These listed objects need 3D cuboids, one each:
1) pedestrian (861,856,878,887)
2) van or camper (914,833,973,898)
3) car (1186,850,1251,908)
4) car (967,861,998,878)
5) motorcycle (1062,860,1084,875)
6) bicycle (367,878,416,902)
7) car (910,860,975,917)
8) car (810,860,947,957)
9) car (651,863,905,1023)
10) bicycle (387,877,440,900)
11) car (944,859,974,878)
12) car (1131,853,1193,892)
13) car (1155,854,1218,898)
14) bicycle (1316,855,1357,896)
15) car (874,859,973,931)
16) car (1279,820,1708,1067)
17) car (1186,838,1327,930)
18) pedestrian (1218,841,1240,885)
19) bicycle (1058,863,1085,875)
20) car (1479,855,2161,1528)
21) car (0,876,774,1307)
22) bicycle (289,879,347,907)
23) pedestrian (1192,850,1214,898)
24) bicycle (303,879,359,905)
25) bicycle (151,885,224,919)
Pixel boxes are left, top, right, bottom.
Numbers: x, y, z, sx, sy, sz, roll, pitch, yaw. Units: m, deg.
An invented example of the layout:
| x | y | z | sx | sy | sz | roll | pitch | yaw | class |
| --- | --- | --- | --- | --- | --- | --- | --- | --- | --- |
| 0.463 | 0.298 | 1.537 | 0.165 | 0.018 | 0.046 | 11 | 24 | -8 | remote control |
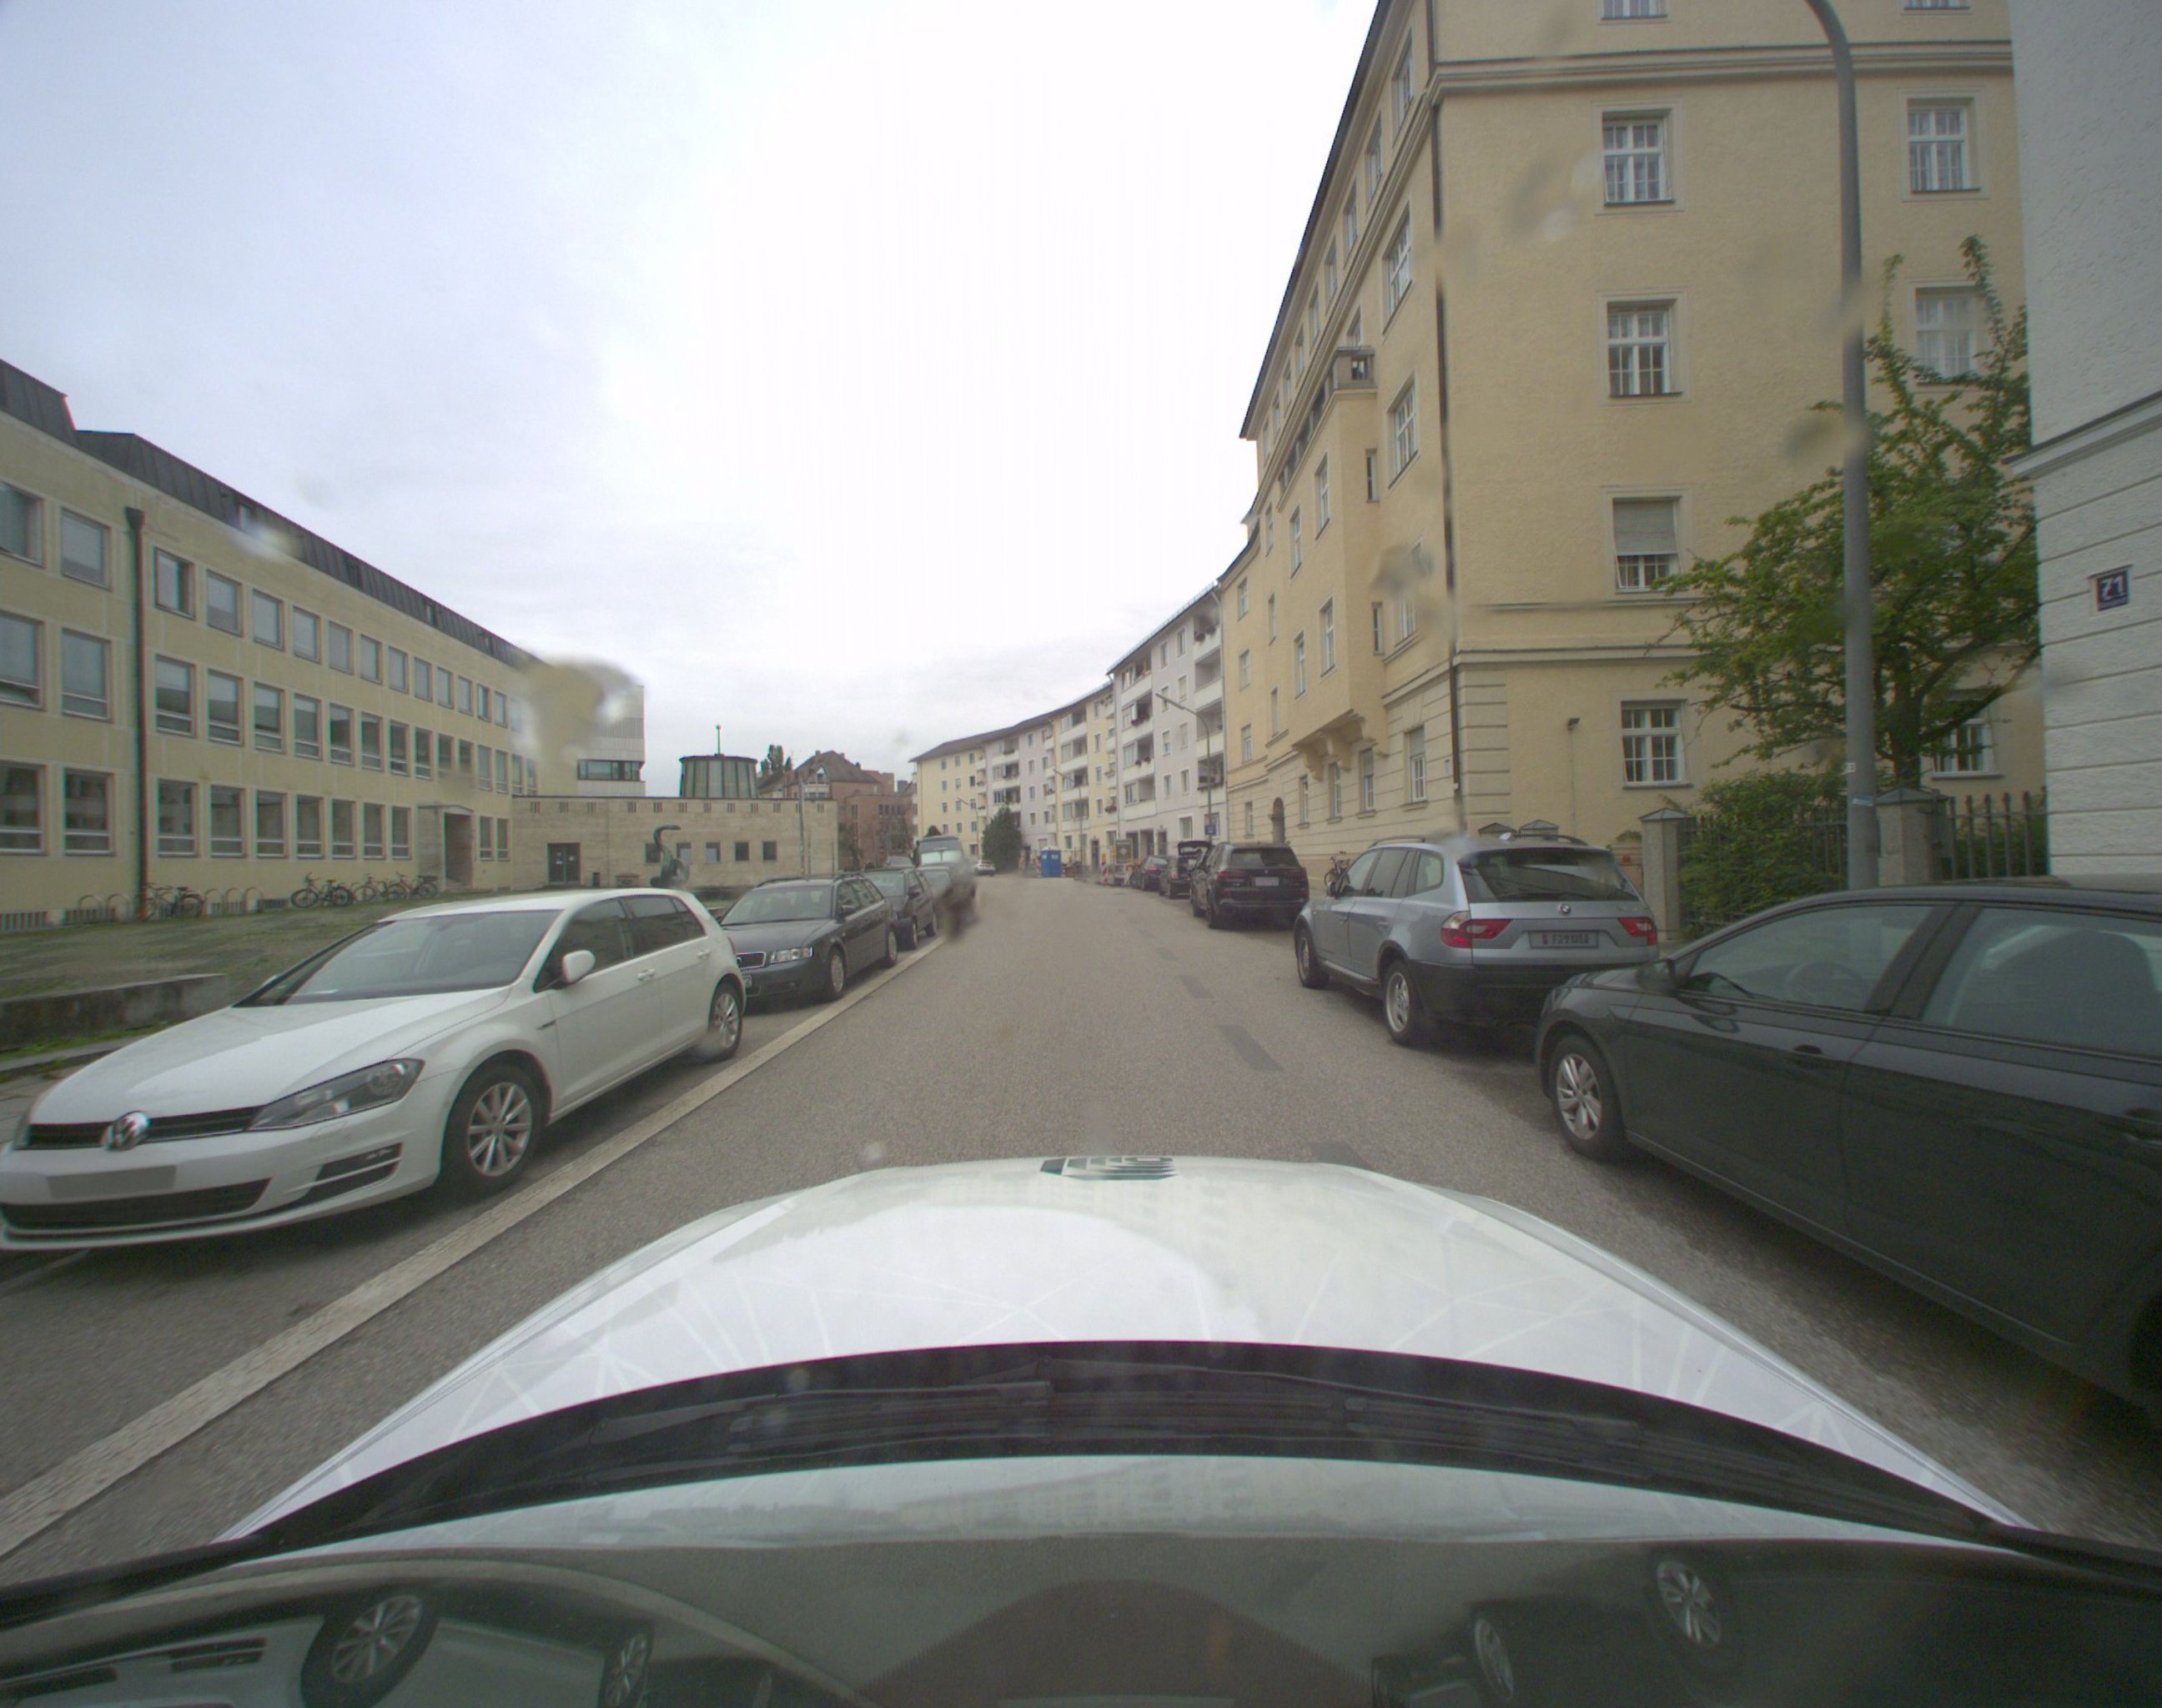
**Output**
| x | y | z | sx | sy | sz | roll | pitch | yaw | class |
| --- | --- | --- | --- | --- | --- | --- | --- | --- | --- |
| -12.792 | 1.038 | 49.334 | 0.847 | 1.866 | 0.708 | -1 | -1 | -27 | pedestrian |
| -6.051 | 0.459 | 35.659 | 2.297 | 2.581 | 6.064 | -1 | 0 | -10 | van or camper |
| 3.926 | 0.676 | 23.628 | 1.508 | 1.555 | 3.020 | -1 | 0 | 2 | car |
| -9.738 | 1.501 | 80.468 | 1.840 | 1.574 | 3.966 | -1 | -1 | -26 | car |
| -0.684 | 1.108 | 66.944 | 0.936 | 1.221 | 2.488 | -1 | -1 | -23 | motorcycle |
| -28.140 | 1.451 | 33.243 | 1.473 | 0.945 | 0.412 | 0 | -1 | -16 | bicycle |
| -4.082 | 0.980 | 24.377 | 1.516 | 1.465 | 2.883 | -4 | 0 | -4 | car |
| -3.699 | 0.927 | 15.486 | 1.626 | 1.494 | 3.602 | -4 | 0 | -1 | car |
| -3.574 | 0.935 | 10.522 | 1.626 | 1.494 | 4.274 | -4 | 0 | -1 | car |
| -28.376 | 1.475 | 34.643 | 1.710 | 0.945 | 0.412 | 0 | -1 | -16 | bicycle |
| -10.423 | 1.228 | 69.290 | 1.923 | 1.412 | 4.680 | -5 | 0 | -15 | car |
| 3.350 | 0.725 | 34.512 | 1.904 | 1.477 | 4.941 | -1 | 0 | -3 | car |
| 3.591 | 0.718 | 28.239 | 1.626 | 1.417 | 3.677 | -1 | 0 | -2 | car |
| 7.019 | 0.562 | 22.467 | 0.500 | 1.049 | 2.139 | -4 | 0 | 3 | bicycle |
| -3.786 | 0.930 | 20.321 | 1.770 | 1.465 | 4.460 | -4 | 0 | -4 | car |
| 3.384 | 0.621 | 7.847 | 1.840 | 1.663 | 4.497 | -1 | 0 | 0 | car |
| 3.661 | 0.567 | 18.025 | 2.162 | 1.739 | 5.025 | -1 | 0 | 1 | car |
| 5.972 | 0.358 | 32.887 | 0.615 | 1.690 | 0.919 | -5 | -1 | 1 | pedestrian |
| -0.869 | 1.368 | 74.967 | 2.242 | 1.069 | 0.912 | -1 | -1 | -23 | bicycle |
| 3.307 | 0.742 | 2.947 | 1.821 | 1.450 | 4.085 | -1 | 0 | 1 | car |
| -3.706 | 0.973 | 5.238 | 1.735 | 1.422 | 4.293 | -4 | 0 | 0 | car |
| -27.437 | 1.394 | 29.310 | 1.473 | 0.945 | 0.412 | 0 | -1 | -16 | bicycle |
| 3.965 | 0.634 | 26.485 | 0.626 | 1.528 | 0.578 | -1 | -1 | 0 | pedestrian |
| -27.707 | 1.394 | 30.097 | 1.473 | 0.945 | 0.412 | 0 | -1 | -16 | bicycle |
| -26.137 | 1.402 | 23.842 | 1.409 | 0.945 | 0.412 | 0 | -1 | -16 | bicycle |
